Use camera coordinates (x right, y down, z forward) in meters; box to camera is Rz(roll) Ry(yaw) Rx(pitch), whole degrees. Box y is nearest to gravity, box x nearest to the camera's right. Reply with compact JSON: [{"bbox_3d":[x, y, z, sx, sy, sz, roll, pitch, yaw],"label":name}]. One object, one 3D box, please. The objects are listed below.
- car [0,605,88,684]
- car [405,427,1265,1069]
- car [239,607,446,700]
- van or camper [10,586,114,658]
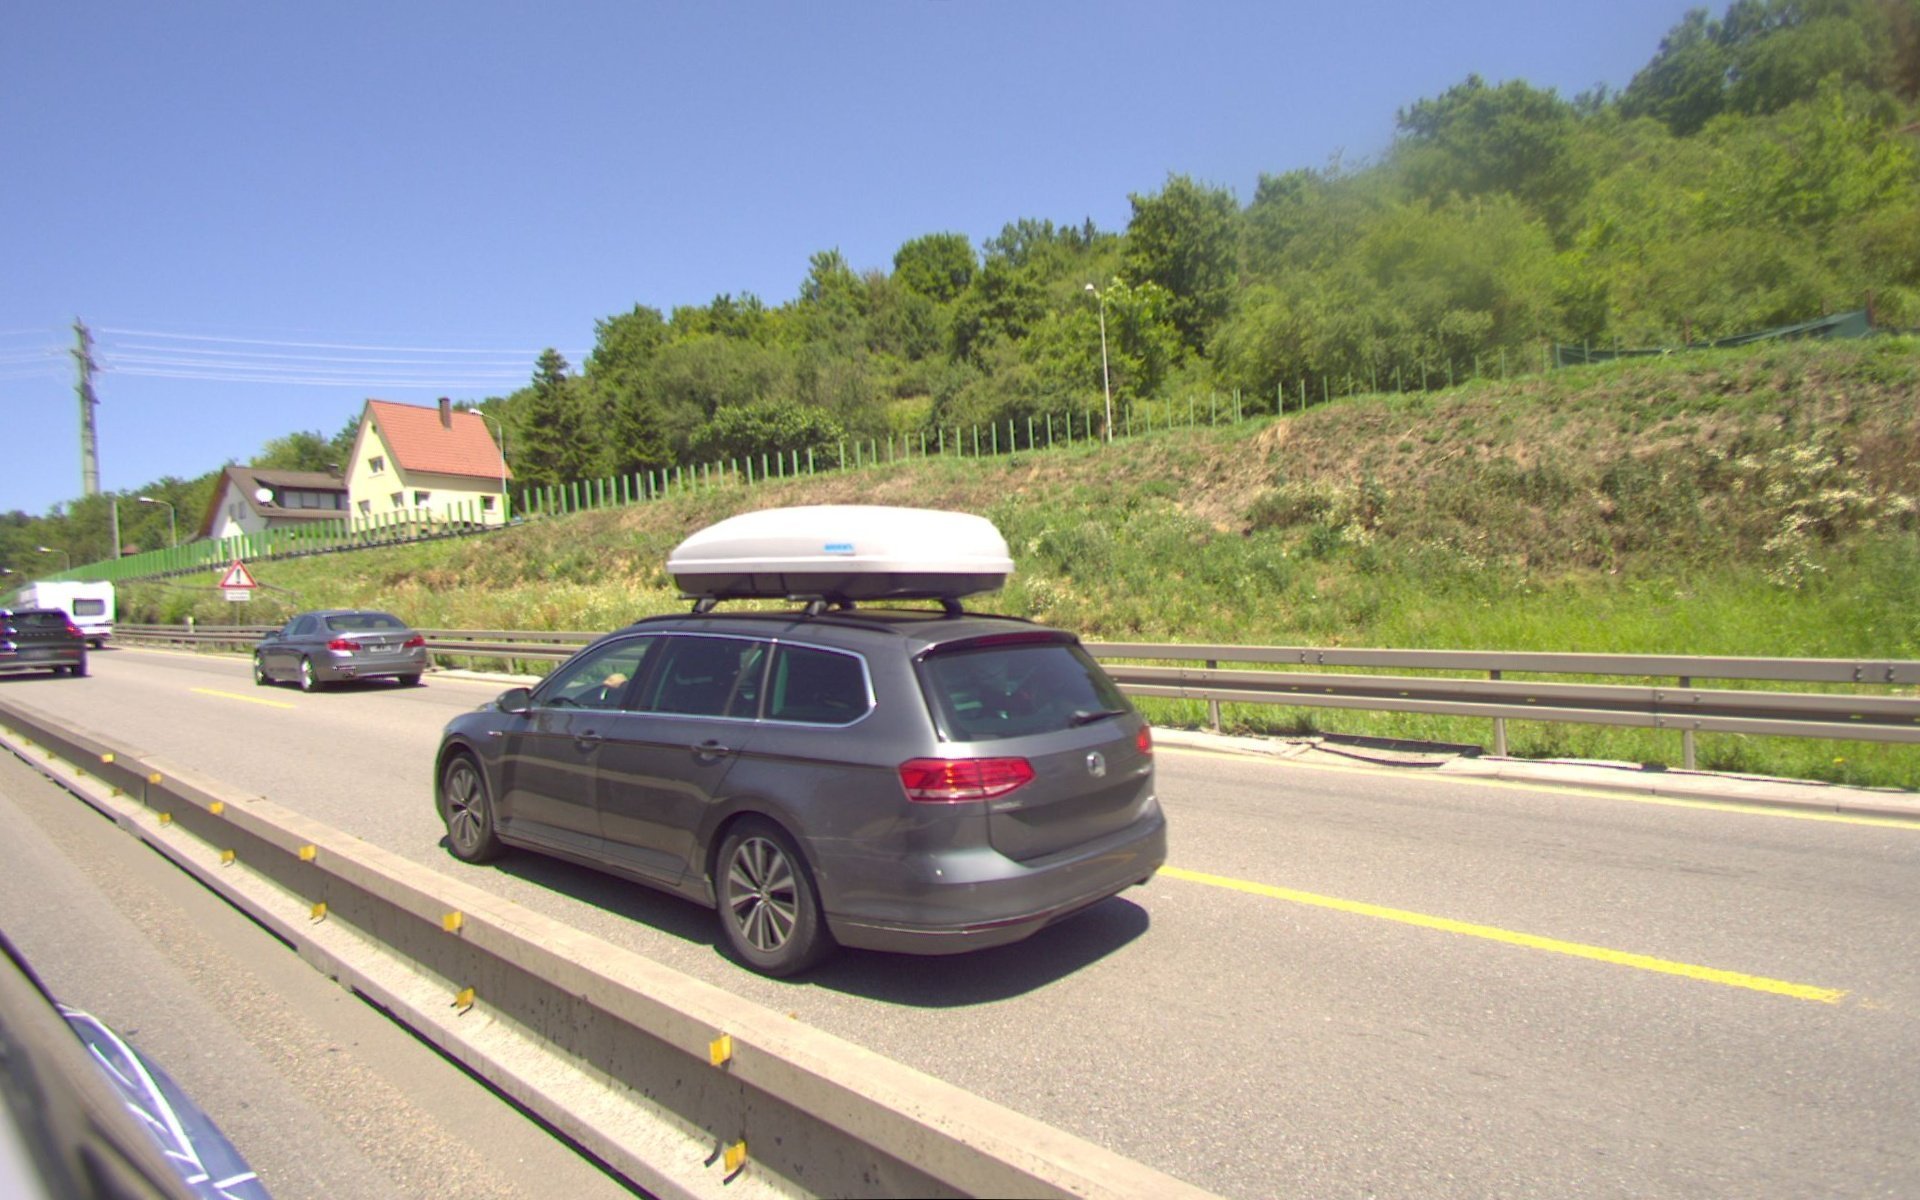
[{"bbox_3d":[-21.878,1.009,23.591,3.999,1.696,1.850,-1,-1,42],"label":"car"},{"bbox_3d":[-0.982,0.476,5.190,4.499,1.904,1.830,-2,0,41],"label":"car"},{"bbox_3d":[-12.029,0.919,19.540,5.299,1.519,1.972,-1,0,42],"label":"car"},{"bbox_3d":[-36.328,0.822,40.866,6.900,2.653,2.325,-1,0,42],"label":"van or camper"}]
